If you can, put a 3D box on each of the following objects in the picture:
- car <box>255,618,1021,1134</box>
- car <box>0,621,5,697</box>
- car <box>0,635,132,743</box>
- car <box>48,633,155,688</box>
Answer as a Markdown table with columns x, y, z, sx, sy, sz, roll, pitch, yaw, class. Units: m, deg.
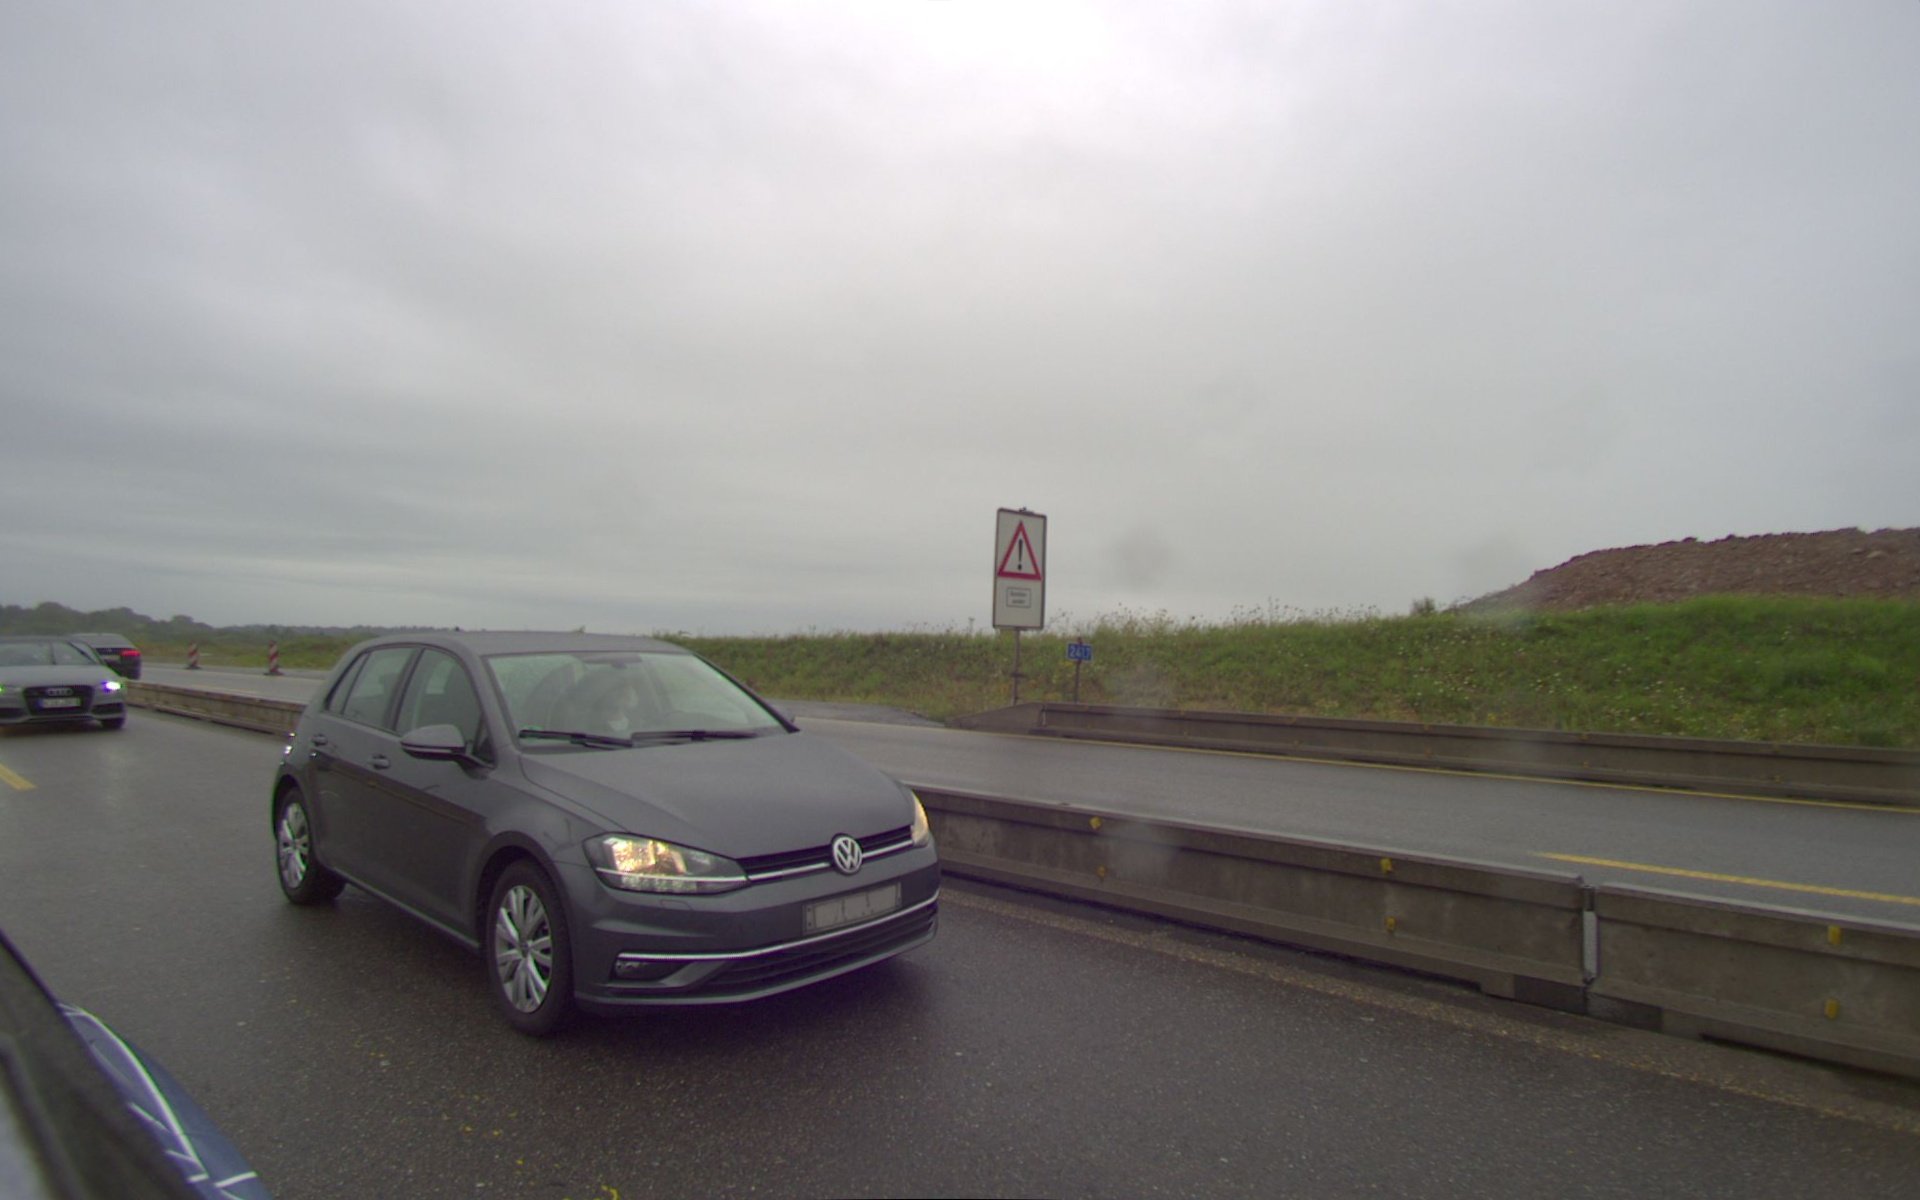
| x | y | z | sx | sy | sz | roll | pitch | yaw | class |
| --- | --- | --- | --- | --- | --- | --- | --- | --- | --- |
| -1.807 | 0.806 | 4.810 | 4.079 | 1.433 | 1.632 | -1 | -2 | 42 | car |
| -26.238 | 1.482 | 25.926 | 5.178 | 1.873 | 2.132 | -1 | -1 | 42 | car |
| -14.503 | 1.291 | 15.752 | 4.266 | 1.407 | 1.777 | -1 | -1 | 40 | car |
| -27.478 | 1.871 | 32.339 | 4.892 | 1.597 | 1.898 | -2 | -2 | 41 | car |
